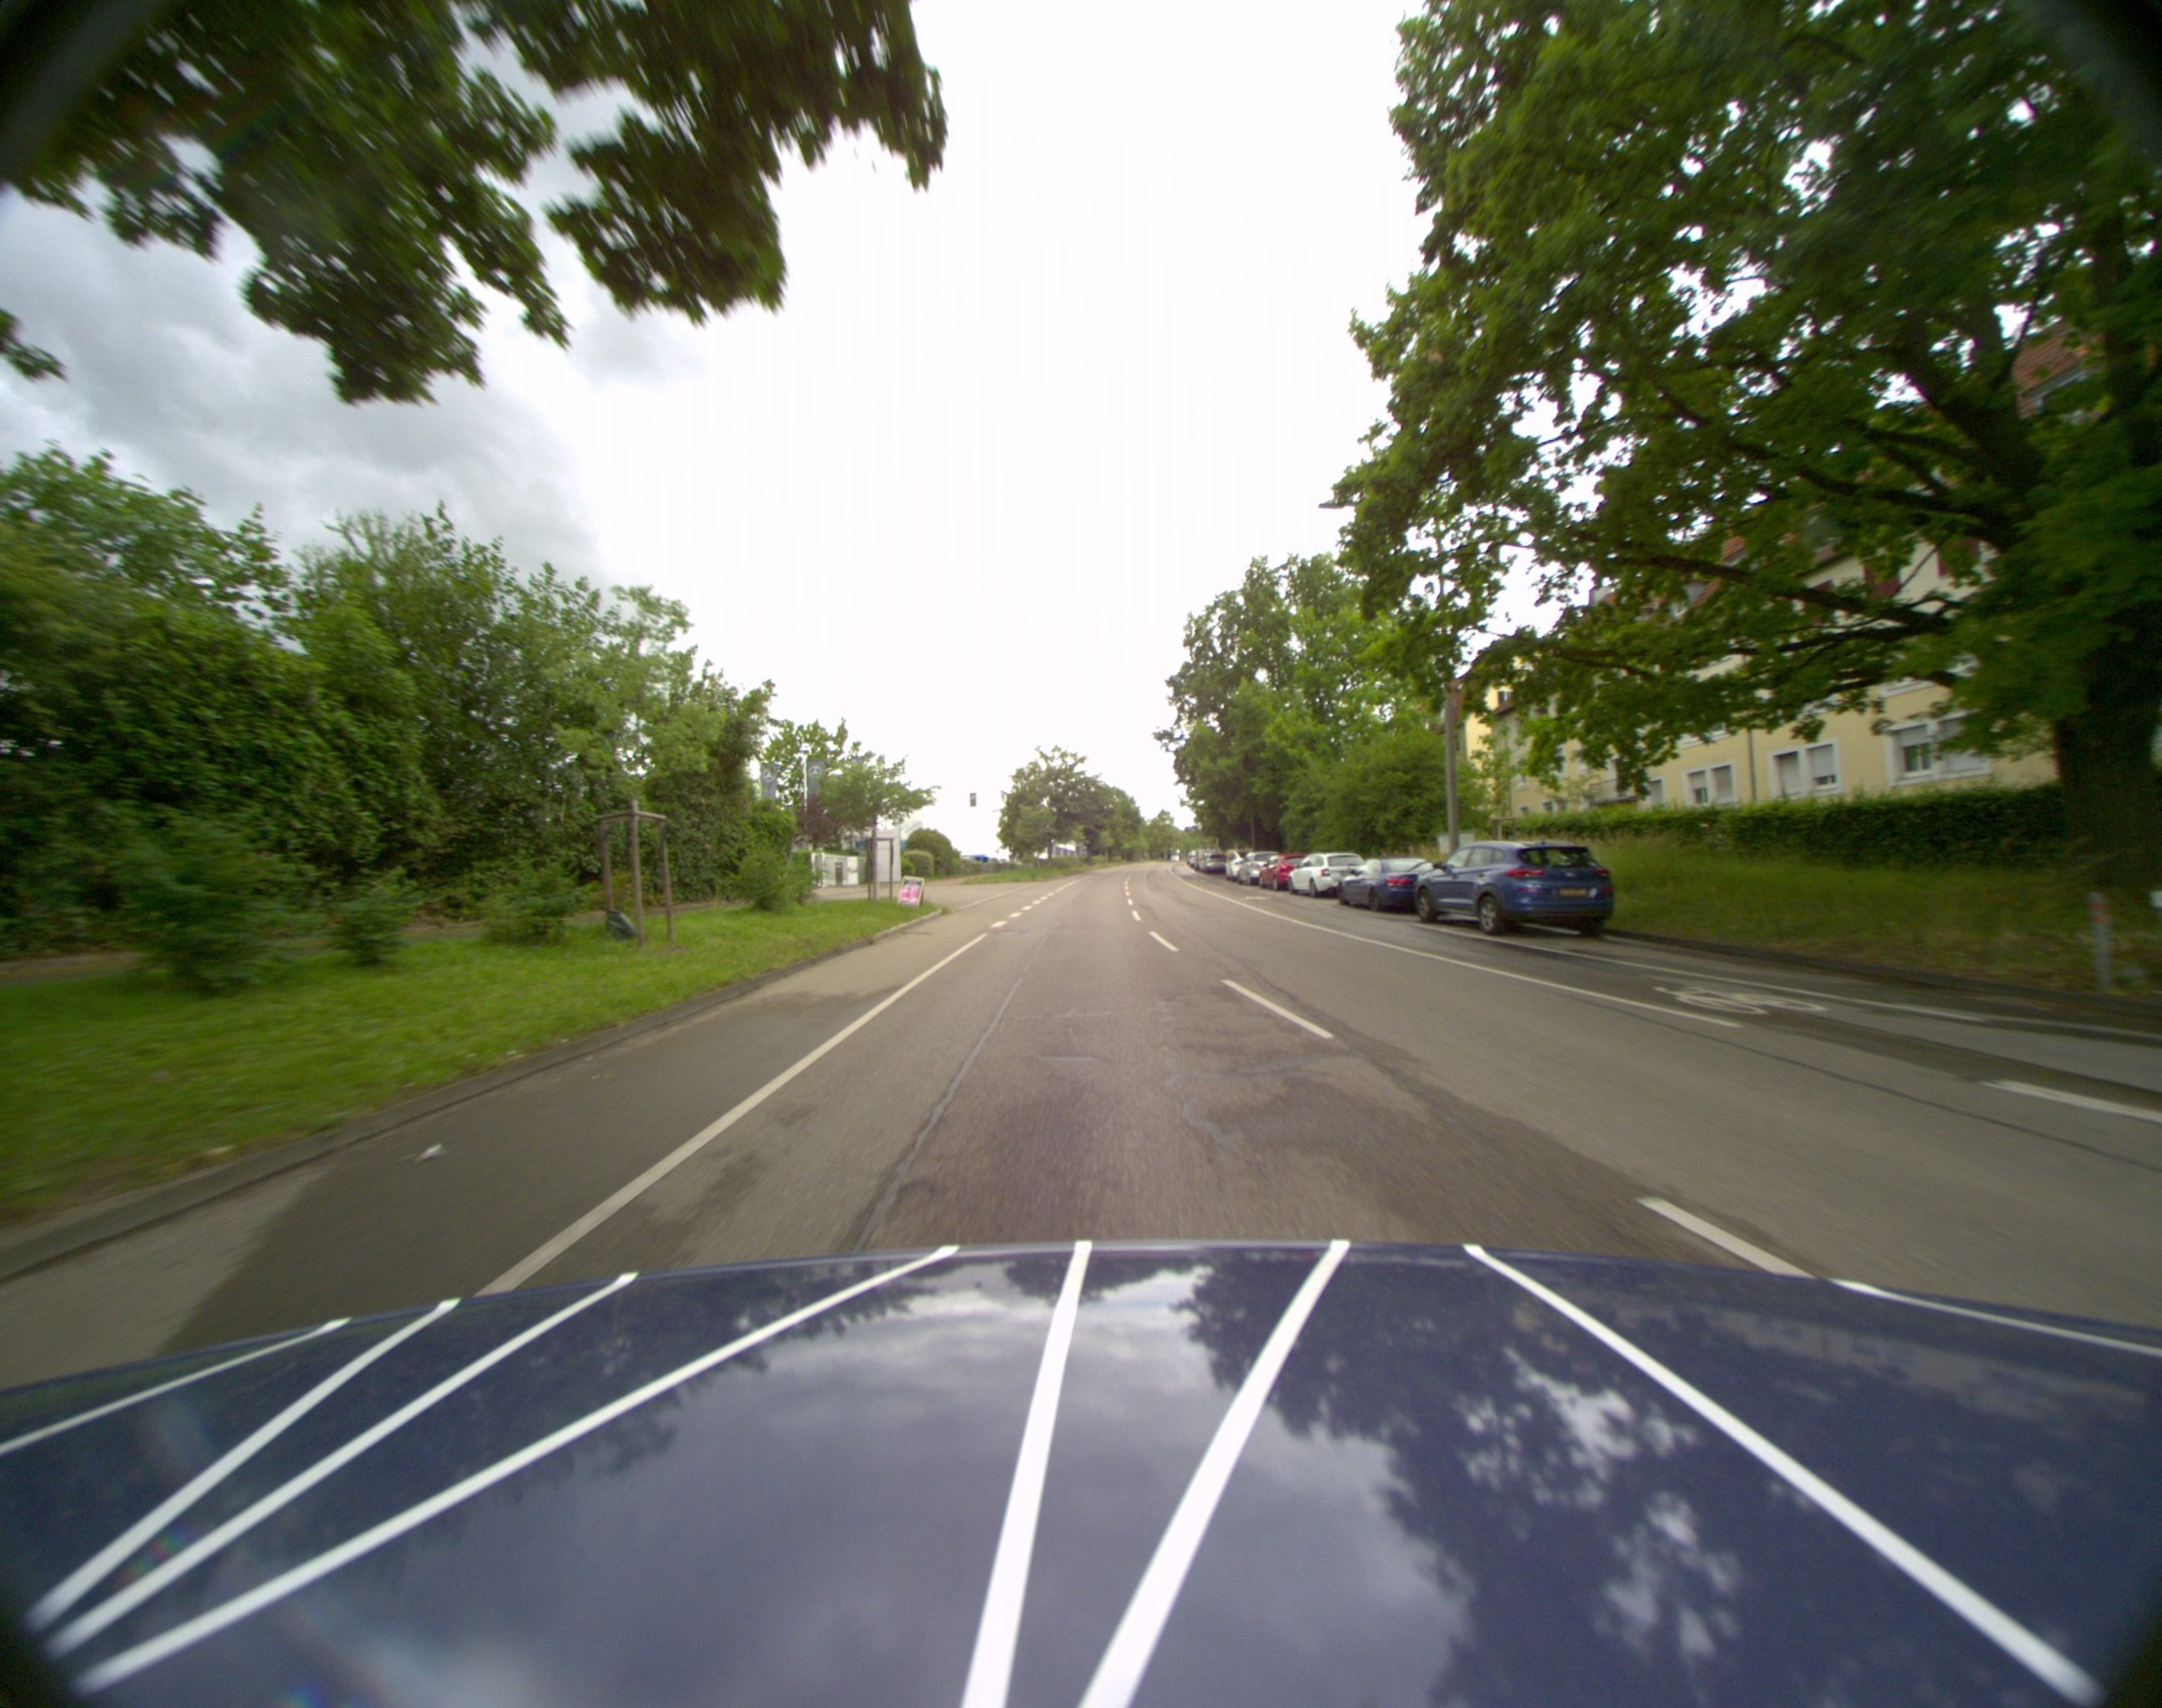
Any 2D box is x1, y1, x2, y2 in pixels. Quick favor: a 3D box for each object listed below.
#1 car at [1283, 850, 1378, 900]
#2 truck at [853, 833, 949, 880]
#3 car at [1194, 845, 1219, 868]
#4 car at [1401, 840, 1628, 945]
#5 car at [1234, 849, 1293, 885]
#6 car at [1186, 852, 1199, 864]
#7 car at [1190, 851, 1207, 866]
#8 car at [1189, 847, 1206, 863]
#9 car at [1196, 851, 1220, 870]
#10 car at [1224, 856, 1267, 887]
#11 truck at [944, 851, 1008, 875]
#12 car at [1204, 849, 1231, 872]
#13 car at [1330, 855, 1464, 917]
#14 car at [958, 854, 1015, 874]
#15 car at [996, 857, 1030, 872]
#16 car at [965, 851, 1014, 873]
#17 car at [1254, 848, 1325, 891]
[{"bbox_3d":[8.349,0.637,25.864,1.719,1.451,4.757,-2,0,1],"label":"car"},{"bbox_3d":[-14.320,0.154,60.369,7.192,3.456,2.615,-2,0,-17],"label":"truck"},{"bbox_3d":[11.347,0.215,69.098,1.870,1.952,5.129,-2,0,6],"label":"car"},{"bbox_3d":[7.894,0.659,14.436,1.719,1.603,4.536,-2,-1,1],"label":"car"},{"bbox_3d":[8.663,0.588,36.374,1.873,1.564,4.120,-2,0,1],"label":"car"},{"bbox_3d":[16.465,0.596,112.137,1.771,1.582,4.137,-2,0,7],"label":"car"},{"bbox_3d":[12.823,0.454,83.159,1.676,1.555,4.283,-1,0,6],"label":"car"},{"bbox_3d":[14.500,0.163,94.671,1.771,1.919,5.158,-3,-1,6],"label":"car"},{"bbox_3d":[10.605,0.530,63.432,1.585,1.473,3.721,-2,0,4],"label":"car"},{"bbox_3d":[9.053,0.934,42.087,1.771,1.564,4.761,-1,0,5],"label":"car"},{"bbox_3d":[-10.973,0.919,79.381,6.259,2.199,2.243,-3,0,-21],"label":"truck"},{"bbox_3d":[10.473,0.471,58.569,1.770,1.624,4.160,-2,0,6],"label":"car"},{"bbox_3d":[8.020,0.746,19.740,1.719,1.381,4.338,-2,0,1],"label":"car"},{"bbox_3d":[-10.333,1.094,83.007,5.829,1.945,2.069,-3,0,-15],"label":"car"},{"bbox_3d":[-10.097,1.595,112.932,4.583,2.022,2.067,-3,0,-33],"label":"car"},{"bbox_3d":[-10.477,0.905,86.939,5.265,2.175,2.069,-3,0,-18],"label":"car"},{"bbox_3d":[8.439,0.581,31.164,1.719,1.564,4.371,-2,0,1],"label":"car"}]
